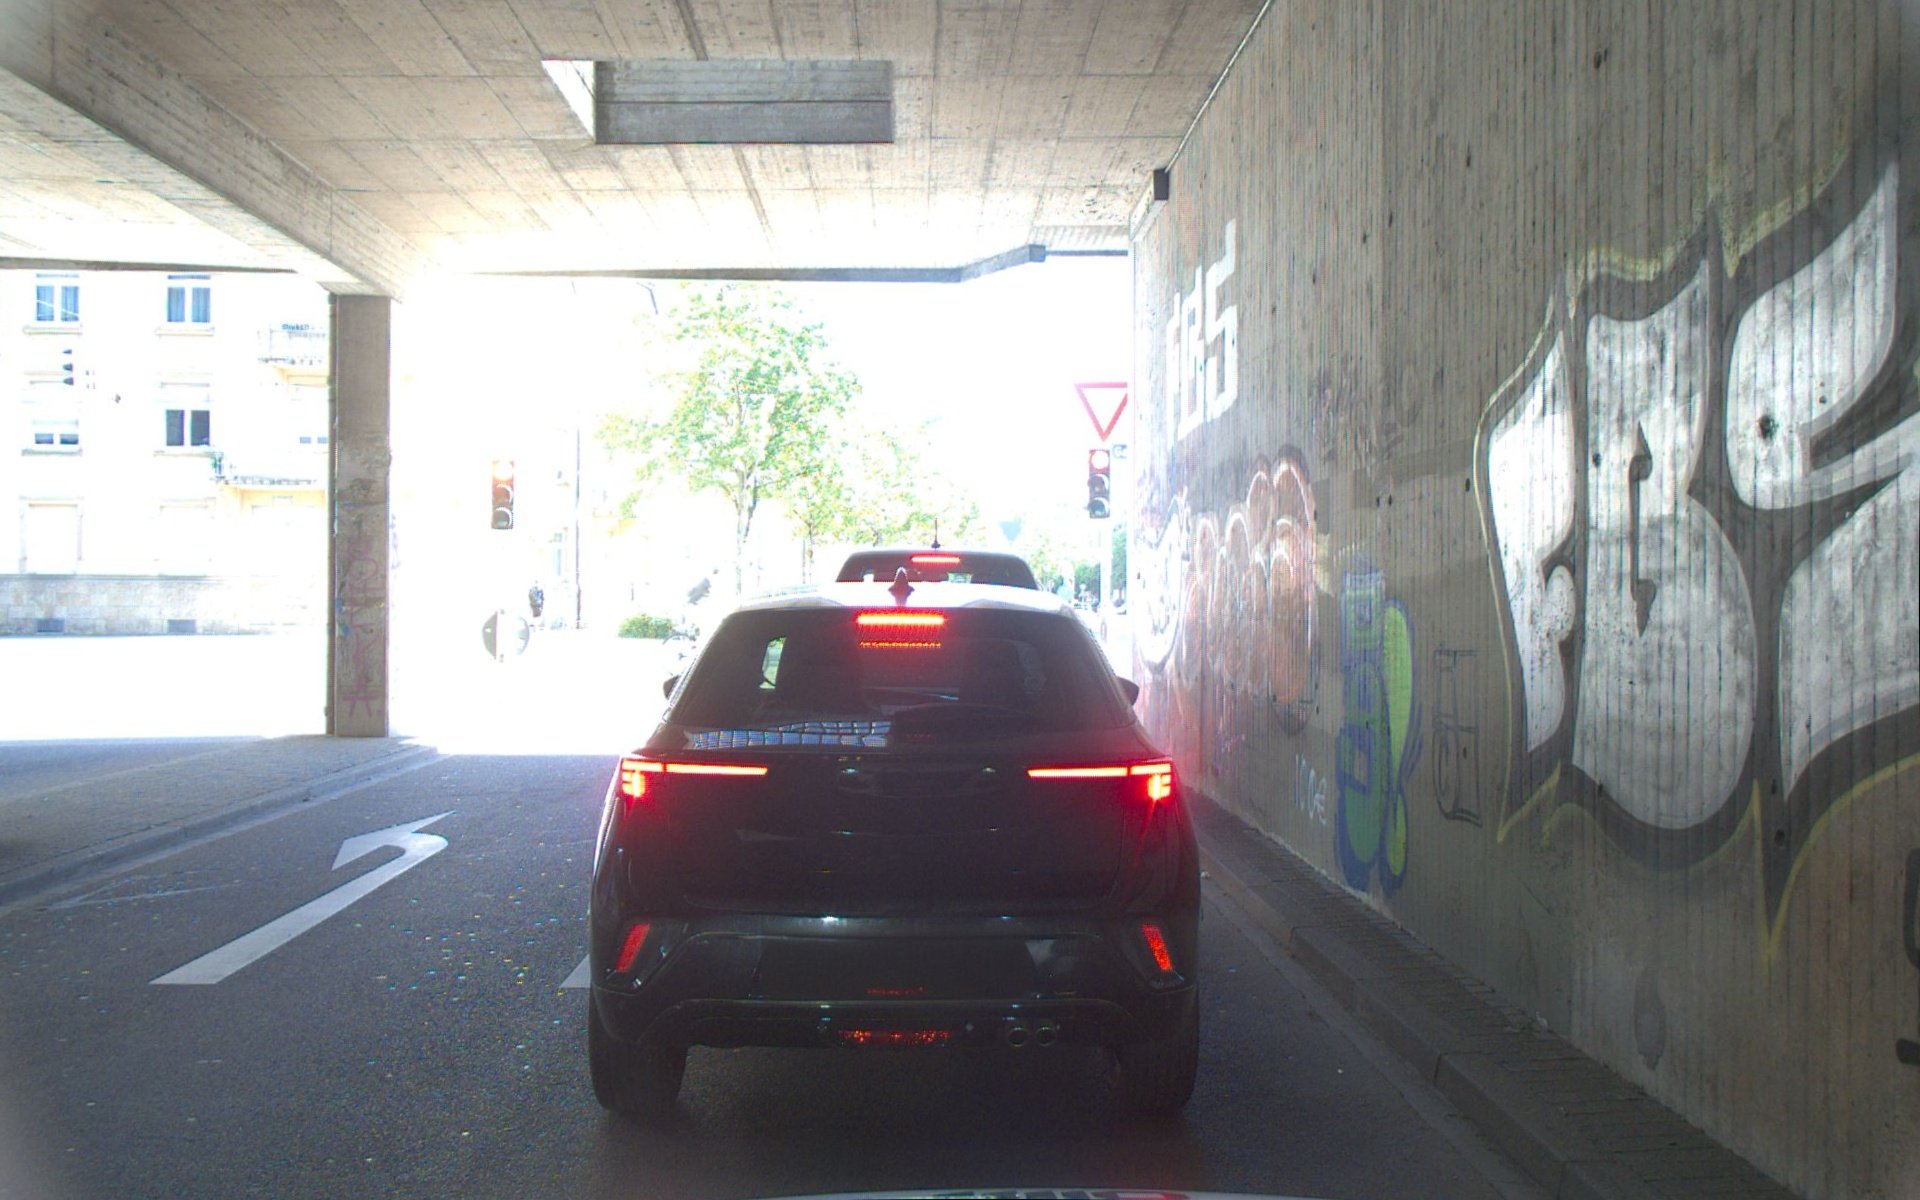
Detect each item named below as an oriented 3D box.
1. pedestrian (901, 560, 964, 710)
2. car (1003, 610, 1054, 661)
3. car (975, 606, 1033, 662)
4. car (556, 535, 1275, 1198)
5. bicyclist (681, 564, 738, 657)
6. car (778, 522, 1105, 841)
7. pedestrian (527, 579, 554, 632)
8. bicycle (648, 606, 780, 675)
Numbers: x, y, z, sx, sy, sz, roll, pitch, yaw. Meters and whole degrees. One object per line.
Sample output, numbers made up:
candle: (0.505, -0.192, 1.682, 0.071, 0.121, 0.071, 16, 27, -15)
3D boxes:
pedestrian: (-0.333, 0.417, 19.970, 0.716, 1.764, 0.874, 1, -1, -1)
car: (2.857, 1.441, 68.524, 1.951, 2.004, 4.166, 1, 0, 4)
car: (1.704, 1.253, 62.292, 1.951, 2.004, 4.166, 1, 0, 4)
car: (-0.135, 0.609, 6.032, 1.729, 1.598, 4.000, 1, 1, -1)
bicyclist: (-3.994, 0.172, 26.385, 0.722, 1.448, 0.685, -1, -1, 6)
car: (-0.139, 0.475, 11.929, 1.953, 1.904, 3.999, 0, 0, -1)
pedestrian: (-13.534, 0.173, 53.375, 0.658, 1.666, 0.740, 1, -1, -1)
bicycle: (-3.907, 0.644, 26.353, 1.947, 1.068, 0.719, -1, -1, 6)
